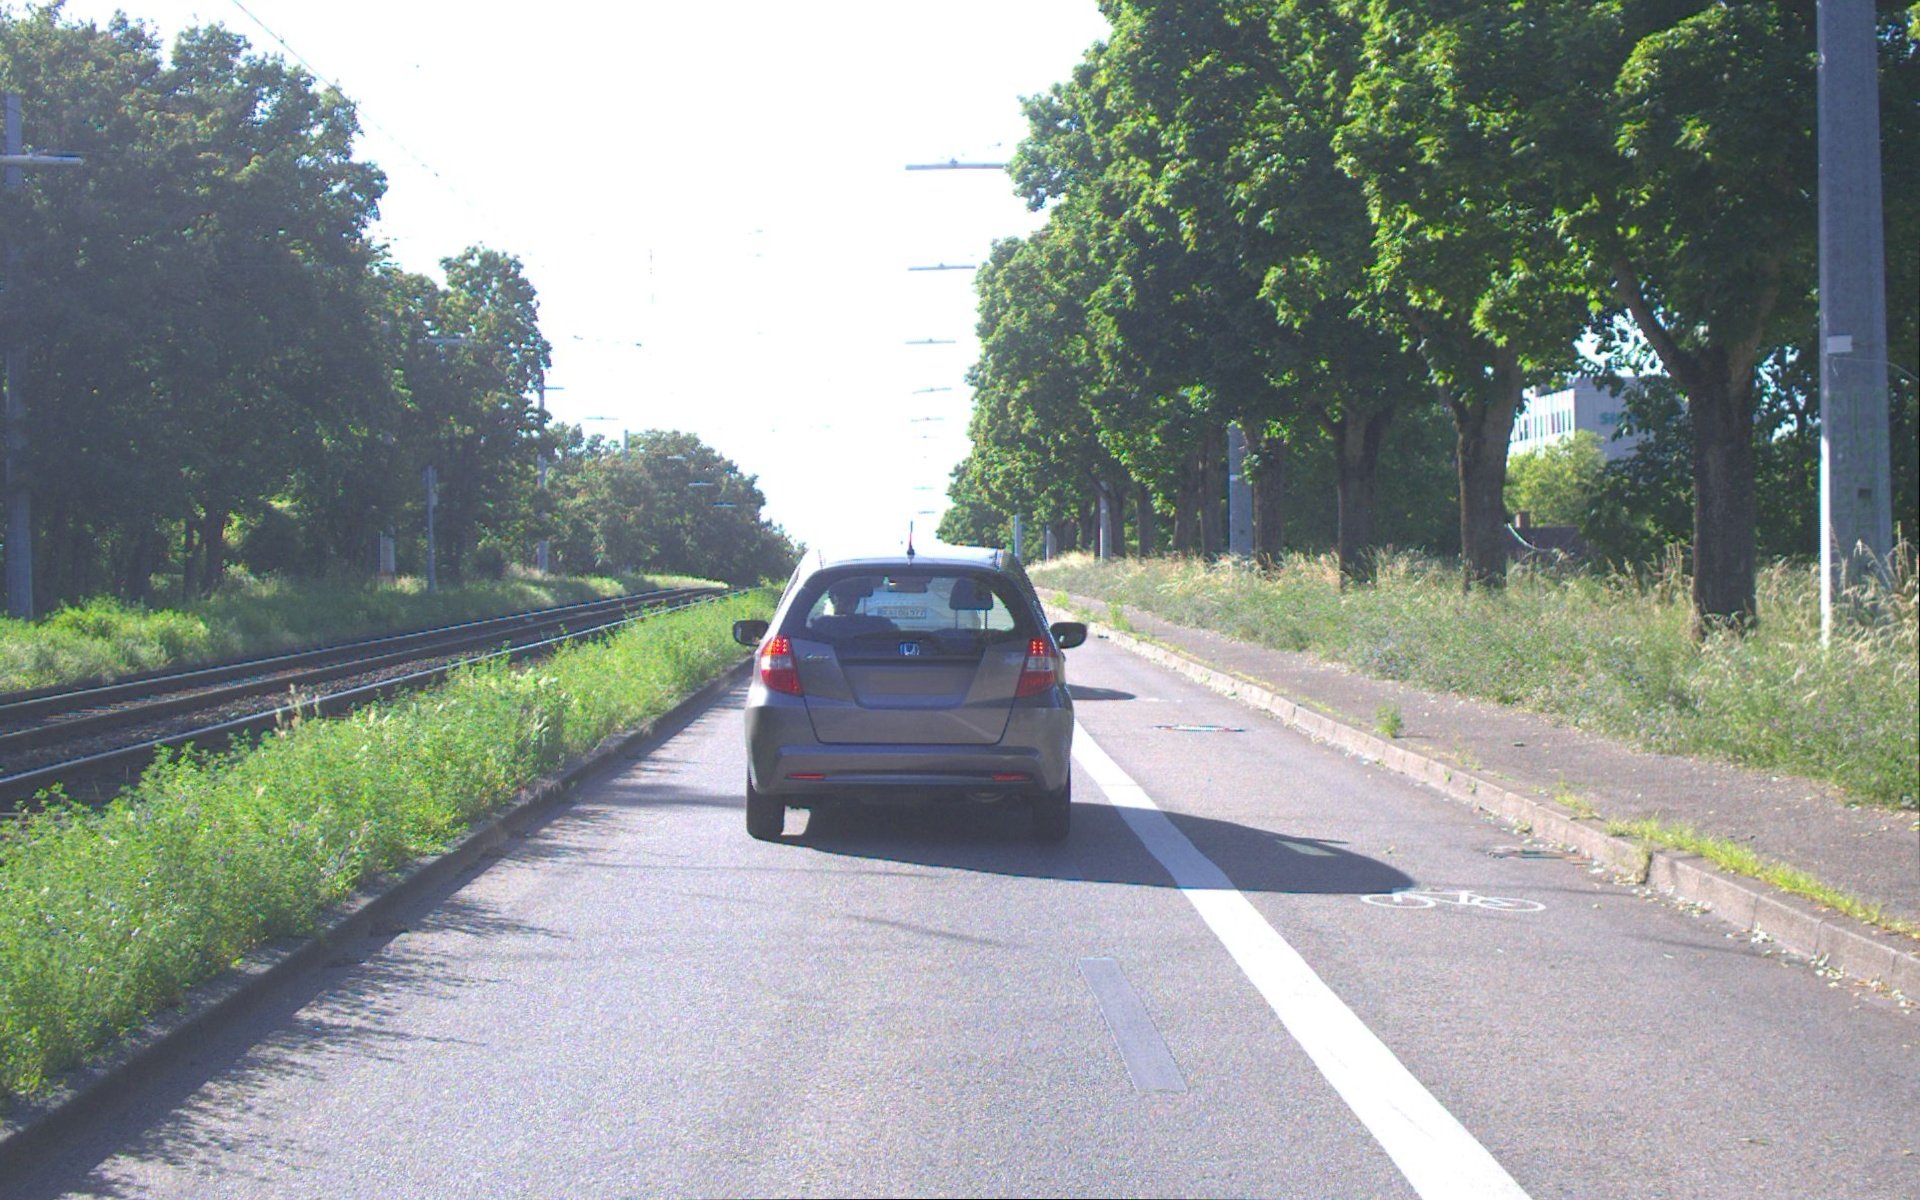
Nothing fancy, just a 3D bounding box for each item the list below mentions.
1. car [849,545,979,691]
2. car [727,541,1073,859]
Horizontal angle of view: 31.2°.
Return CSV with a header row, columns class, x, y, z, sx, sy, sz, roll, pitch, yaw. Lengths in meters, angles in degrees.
class,x,y,z,sx,sy,sz,roll,pitch,yaw
car,-0.478,0.194,37.976,1.351,1.522,3.123,-1,0,0
car,-0.354,0.461,18.750,1.670,1.510,3.674,1,1,-2
